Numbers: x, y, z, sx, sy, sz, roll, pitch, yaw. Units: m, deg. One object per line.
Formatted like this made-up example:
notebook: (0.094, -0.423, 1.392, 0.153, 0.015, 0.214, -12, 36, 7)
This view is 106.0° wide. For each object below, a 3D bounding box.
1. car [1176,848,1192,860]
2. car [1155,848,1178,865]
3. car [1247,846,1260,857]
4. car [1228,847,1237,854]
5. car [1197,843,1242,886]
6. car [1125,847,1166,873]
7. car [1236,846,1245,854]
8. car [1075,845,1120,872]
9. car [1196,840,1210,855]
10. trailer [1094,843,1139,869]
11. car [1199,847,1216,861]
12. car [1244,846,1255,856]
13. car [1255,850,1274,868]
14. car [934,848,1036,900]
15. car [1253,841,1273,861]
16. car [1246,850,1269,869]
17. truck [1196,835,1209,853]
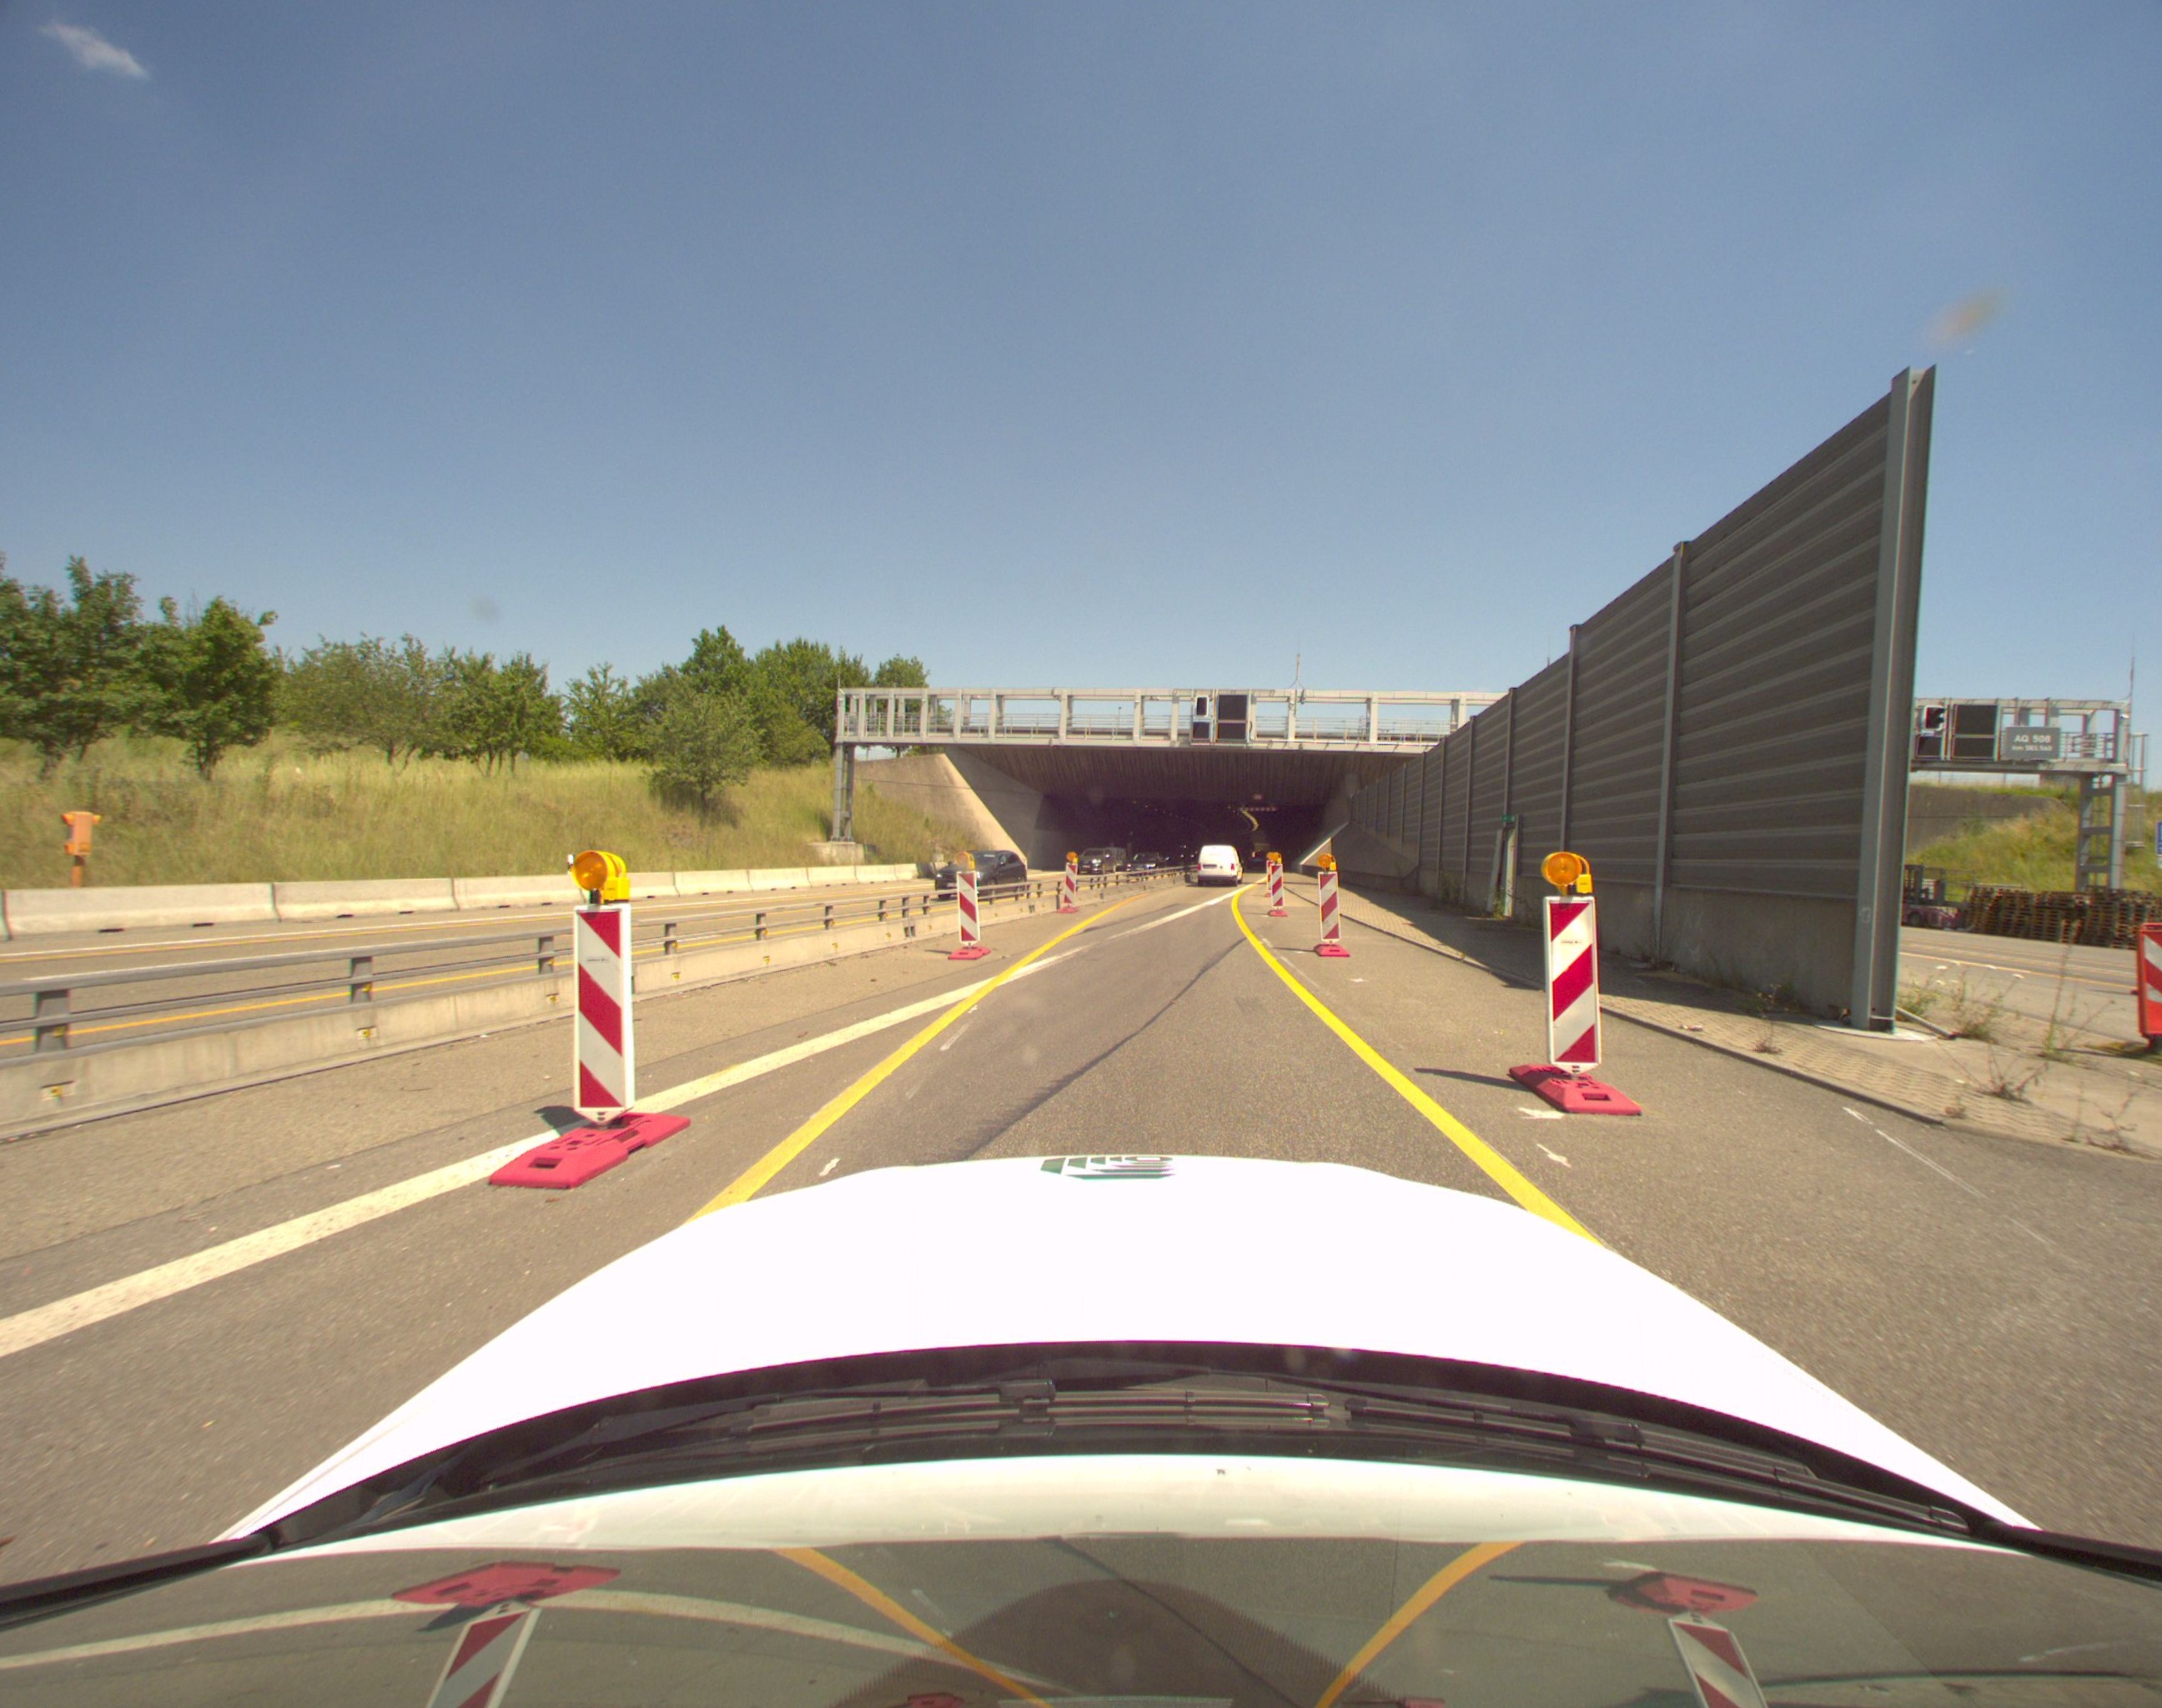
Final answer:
car: (14.000, -0.045, 110.253, 1.761, 1.515, 4.580, -1, 0, 12)
car: (8.951, 0.277, 84.823, 1.761, 1.666, 4.825, -1, 0, 14)
car: (34.070, -0.554, 161.244, 2.024, 2.021, 4.641, 4, 1, 7)
car: (44.018, -1.005, 236.681, 2.063, 2.021, 4.669, 0, 0, 5)
car: (6.370, 0.448, 37.221, 1.796, 1.794, 3.744, 2, 0, 13)
car: (4.209, 0.350, 52.433, 1.761, 1.593, 5.005, -1, 0, 14)
car: (41.536, -0.952, 211.985, 1.930, 2.021, 4.669, 0, 0, 5)
car: (1.168, 0.240, 54.840, 1.760, 1.727, 4.890, -1, 0, 17)
car: (20.230, -1.075, 134.595, 1.980, 2.515, 6.062, -1, 0, 12)
trailer: (2.665, 0.142, 59.838, 1.931, 1.805, 5.548, -1, 0, 17)
car: (15.153, 0.019, 97.240, 1.762, 1.577, 4.461, -1, 0, 11)
car: (36.471, -0.690, 176.860, 1.930, 2.021, 4.671, 0, 0, 6)
car: (19.297, 0.479, 85.871, 1.797, 1.815, 4.423, 2, 0, 11)
car: (-3.098, 0.608, 27.231, 1.728, 1.593, 4.248, 0, 0, 19)
car: (28.056, -0.486, 126.037, 2.795, 2.773, 7.123, 3, 0, 12)
car: (15.063, 0.469, 69.254, 1.796, 1.537, 4.425, 2, 0, 13)
truck: (27.862, -2.227, 186.312, 2.793, 3.915, 6.473, 0, 0, 9)
